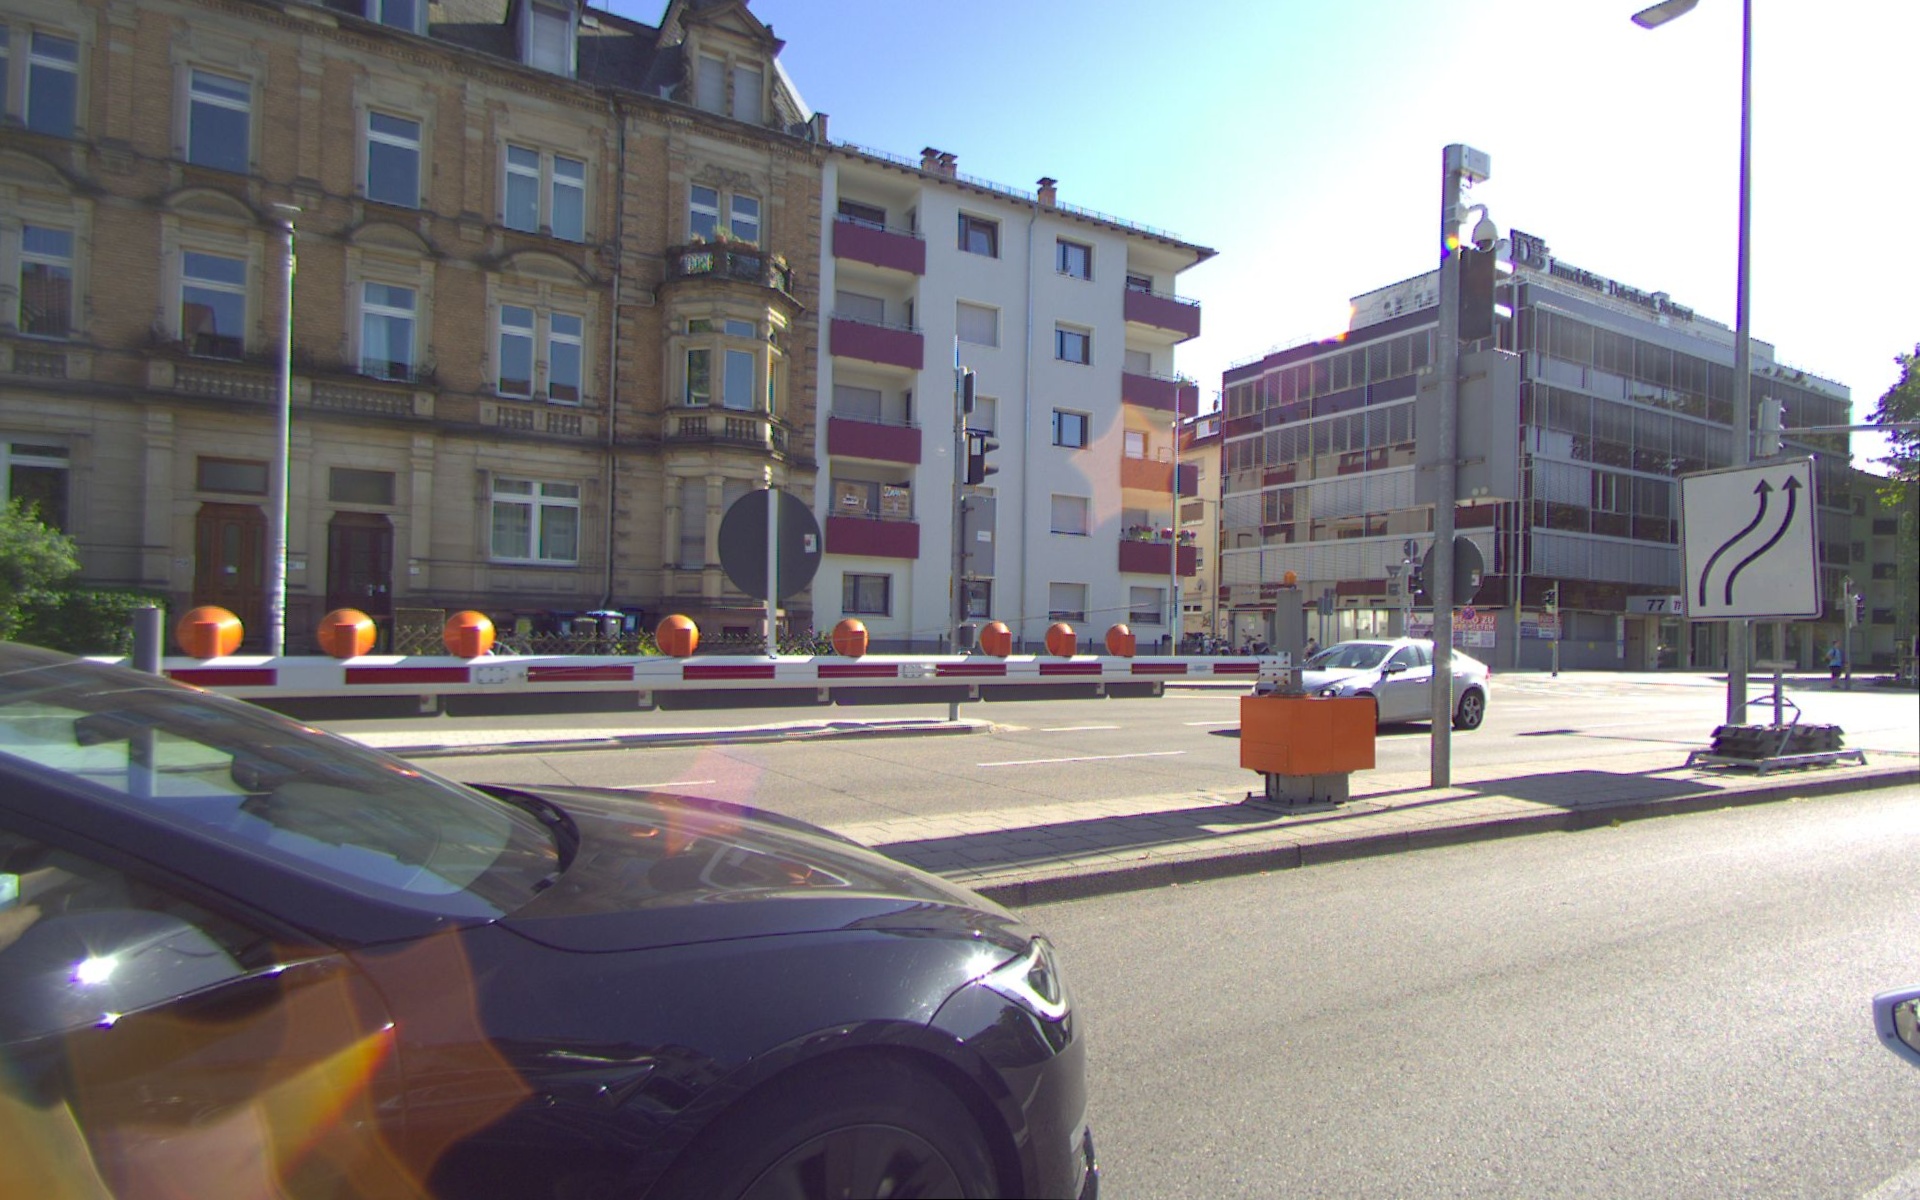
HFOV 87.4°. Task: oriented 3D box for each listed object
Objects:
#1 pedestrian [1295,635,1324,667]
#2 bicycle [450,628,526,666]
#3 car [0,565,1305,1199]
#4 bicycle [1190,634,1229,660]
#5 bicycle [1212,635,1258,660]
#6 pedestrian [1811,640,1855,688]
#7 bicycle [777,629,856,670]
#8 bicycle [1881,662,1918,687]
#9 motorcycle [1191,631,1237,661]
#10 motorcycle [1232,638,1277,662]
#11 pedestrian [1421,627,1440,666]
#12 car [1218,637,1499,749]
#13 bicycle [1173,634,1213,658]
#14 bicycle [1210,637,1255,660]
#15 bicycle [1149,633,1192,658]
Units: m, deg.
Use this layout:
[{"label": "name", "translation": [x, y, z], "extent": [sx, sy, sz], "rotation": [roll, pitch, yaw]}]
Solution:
[{"label": "pedestrian", "translation": [13.142, 1.917, 37.730], "extent": [0.783, 1.168, 0.711], "rotation": [2, -1, -41]}, {"label": "bicycle", "translation": [-9.881, 0.990, 21.041], "extent": [1.396, 0.781, 0.297], "rotation": [2, -1, -29]}, {"label": "car", "translation": [-1.719, 0.673, 1.826], "extent": [4.570, 1.430, 1.916], "rotation": [1, -1, -30]}, {"label": "bicycle", "translation": [10.770, 2.031, 43.302], "extent": [1.714, 1.082, 0.487], "rotation": [2, -1, -27]}, {"label": "bicycle", "translation": [11.500, 1.988, 42.020], "extent": [1.852, 0.991, 0.507], "rotation": [2, -1, -13]}, {"label": "pedestrian", "translation": [32.670, 2.395, 37.600], "extent": [0.997, 1.733, 0.863], "rotation": [2, -1, -22]}, {"label": "bicycle", "translation": [-3.516, 1.224, 24.637], "extent": [1.916, 0.971, 0.303], "rotation": [2, -1, -29]}, {"label": "bicycle", "translation": [42.017, 3.333, 44.924], "extent": [1.856, 1.051, 0.624], "rotation": [2, -1, -28]}, {"label": "motorcycle", "translation": [10.306, 1.856, 40.709], "extent": [1.756, 1.157, 0.610], "rotation": [2, -1, -20]}, {"label": "motorcycle", "translation": [11.813, 2.010, 40.317], "extent": [1.815, 0.948, 0.502], "rotation": [2, -1, -22]}, {"label": "pedestrian", "translation": [20.703, 2.050, 44.182], "extent": [0.688, 1.680, 0.745], "rotation": [1, -1, 31]}, {"label": "car", "translation": [6.567, 1.437, 16.485], "extent": [4.338, 1.472, 1.984], "rotation": [2, 2, -30]}, {"label": "bicycle", "translation": [10.264, 2.040, 44.241], "extent": [1.712, 1.017, 0.507], "rotation": [2, -1, -25]}, {"label": "bicycle", "translation": [11.584, 2.062, 42.711], "extent": [1.922, 0.960, 0.476], "rotation": [2, -1, -21]}, {"label": "bicycle", "translation": [8.674, 1.892, 41.400], "extent": [1.712, 0.982, 0.573], "rotation": [2, -1, -25]}]
